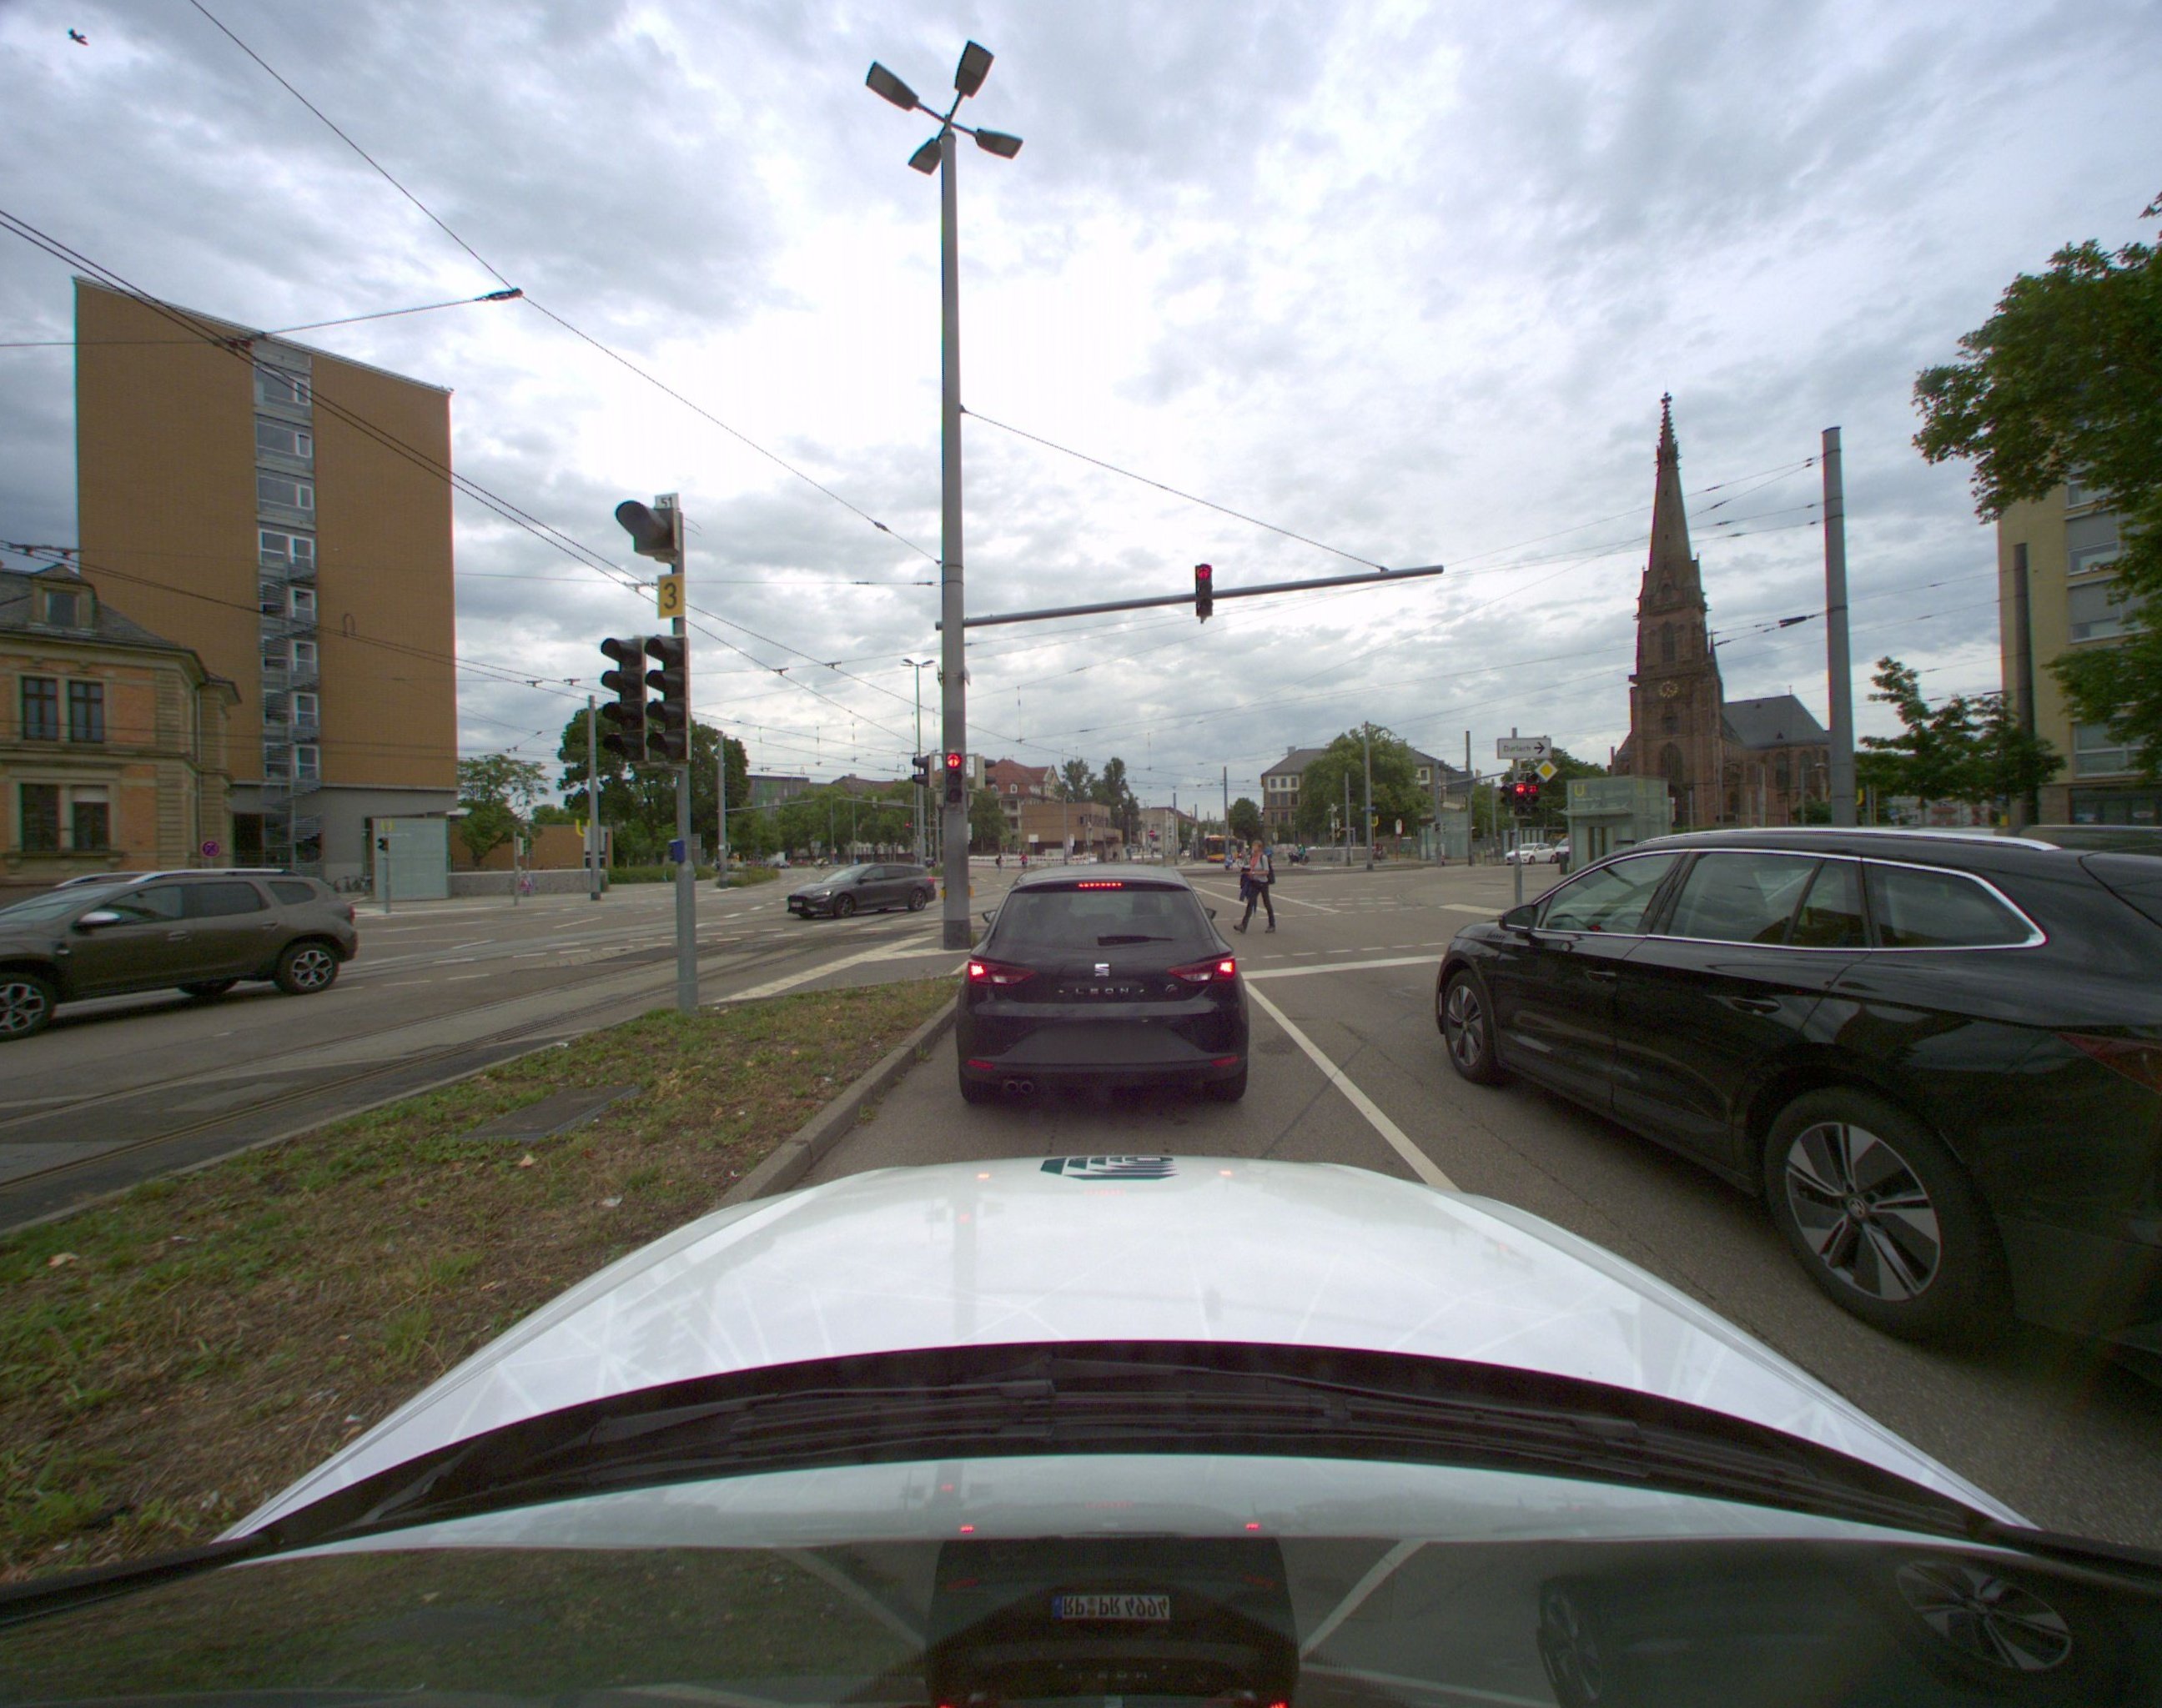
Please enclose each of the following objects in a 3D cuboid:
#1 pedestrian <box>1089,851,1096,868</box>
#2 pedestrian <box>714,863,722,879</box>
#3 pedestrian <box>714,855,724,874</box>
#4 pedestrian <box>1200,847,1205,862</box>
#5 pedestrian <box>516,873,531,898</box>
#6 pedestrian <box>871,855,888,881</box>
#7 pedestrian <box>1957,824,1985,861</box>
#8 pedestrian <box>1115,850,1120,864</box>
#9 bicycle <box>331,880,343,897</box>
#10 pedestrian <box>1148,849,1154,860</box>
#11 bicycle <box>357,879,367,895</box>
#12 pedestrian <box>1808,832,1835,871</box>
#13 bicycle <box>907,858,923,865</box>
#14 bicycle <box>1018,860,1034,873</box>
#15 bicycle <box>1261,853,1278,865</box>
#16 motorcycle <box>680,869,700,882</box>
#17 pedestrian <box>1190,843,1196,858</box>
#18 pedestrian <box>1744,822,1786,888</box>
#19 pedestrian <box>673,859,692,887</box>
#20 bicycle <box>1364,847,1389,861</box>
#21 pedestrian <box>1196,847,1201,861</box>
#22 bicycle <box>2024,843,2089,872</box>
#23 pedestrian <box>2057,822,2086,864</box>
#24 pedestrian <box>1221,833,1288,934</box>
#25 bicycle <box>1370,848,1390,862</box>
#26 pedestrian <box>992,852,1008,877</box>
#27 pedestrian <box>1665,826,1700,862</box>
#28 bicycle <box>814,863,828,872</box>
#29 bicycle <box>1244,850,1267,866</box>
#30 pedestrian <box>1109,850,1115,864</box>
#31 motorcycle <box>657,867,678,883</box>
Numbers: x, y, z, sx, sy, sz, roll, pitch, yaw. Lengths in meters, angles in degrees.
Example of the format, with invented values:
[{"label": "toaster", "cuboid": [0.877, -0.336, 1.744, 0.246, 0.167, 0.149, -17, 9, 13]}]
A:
[{"label": "pedestrian", "cuboid": [1.394, 0.636, 96.843, 0.704, 1.918, 0.625, -1, 0, 9]}, {"label": "pedestrian", "cuboid": [-46.379, 2.164, 104.042, 0.880, 1.981, 0.791, -1, -1, -17]}, {"label": "pedestrian", "cuboid": [-37.744, 1.077, 84.873, 0.799, 1.981, 0.872, -1, -2, -33]}, {"label": "pedestrian", "cuboid": [15.587, 0.044, 104.490, 0.617, 1.918, 0.701, -1, 0, 11]}, {"label": "pedestrian", "cuboid": [-30.670, 1.713, 44.795, 0.492, 1.336, 0.577, -1, 0, 41]}, {"label": "pedestrian", "cuboid": [-14.980, 1.040, 60.537, 1.032, 1.934, 0.695, -1, 0, -24]}, {"label": "pedestrian", "cuboid": [39.155, -0.505, 35.846, 0.641, 1.638, 0.777, -1, 0, -45]}, {"label": "pedestrian", "cuboid": [4.954, 0.431, 109.696, 0.618, 1.918, 0.711, -1, 0, 5]}, {"label": "bicycle", "cuboid": [-51.126, 2.339, 55.972, 0.575, 1.106, 1.411, -1, 0, -41]}, {"label": "pedestrian", "cuboid": [12.352, 0.025, 143.628, 0.615, 1.918, 0.715, -2, -2, 27]}, {"label": "bicycle", "cuboid": [-50.209, 2.299, 56.855, 0.484, 1.049, 1.411, -1, 0, -41]}, {"label": "pedestrian", "cuboid": [31.579, -0.103, 34.738, 0.875, 1.638, 0.631, -1, 0, -32]}, {"label": "bicycle", "cuboid": [-27.786, 1.236, 136.527, 0.930, 1.179, 2.747, -1, 0, 30]}, {"label": "bicycle", "cuboid": [-5.242, 1.163, 77.744, 0.895, 1.178, 2.287, -1, 0, -20]}, {"label": "bicycle", "cuboid": [17.115, 0.443, 73.924, 0.863, 1.104, 2.299, -1, 0, -3]}, {"label": "motorcycle", "cuboid": [-34.383, 1.861, 71.633, 0.506, 1.111, 1.751, -1, 0, 15]}, {"label": "pedestrian", "cuboid": [14.339, -0.400, 104.144, 0.617, 1.918, 0.701, -1, 0, 11]}, {"label": "pedestrian", "cuboid": [20.615, 0.029, 24.547, 0.878, 1.930, 1.023, -1, 0, 43]}, {"label": "pedestrian", "cuboid": [-28.690, 1.357, 58.645, 1.023, 2.013, 0.841, -1, 0, -18]}, {"label": "bicycle", "cuboid": [29.700, -0.013, 81.830, 2.248, 1.331, 0.709, -2, -1, 9]}, {"label": "pedestrian", "cuboid": [15.202, 0.001, 105.508, 0.618, 1.918, 0.711, -1, 0, 5]}, {"label": "bicycle", "cuboid": [31.534, 0.117, 26.333, 0.596, 0.917, 1.253, -1, 0, -28]}, {"label": "pedestrian", "cuboid": [39.505, -0.441, 32.482, 0.875, 1.638, 0.631, -1, 0, -32]}, {"label": "pedestrian", "cuboid": [3.389, 0.553, 15.884, 1.110, 1.907, 0.727, 0, -1, -41]}, {"label": "bicycle", "cuboid": [26.008, 0.108, 70.875, 2.044, 1.184, 0.768, -1, 0, -44]}, {"label": "pedestrian", "cuboid": [-6.345, 0.838, 64.058, 0.692, 1.934, 1.037, -2, 0, 40]}, {"label": "pedestrian", "cuboid": [30.686, -0.505, 41.552, 0.950, 1.797, 1.076, -1, -2, -31]}, {"label": "bicycle", "cuboid": [-36.414, 1.894, 113.951, 0.429, 1.236, 1.838, -3, -2, 45]}, {"label": "bicycle", "cuboid": [14.345, 0.335, 66.891, 1.729, 1.321, 0.643, -1, 0, -8]}, {"label": "pedestrian", "cuboid": [4.180, 0.436, 109.805, 0.618, 1.918, 0.711, -1, 0, 5]}, {"label": "motorcycle", "cuboid": [-35.410, 1.780, 69.728, 1.481, 1.268, 0.505, -1, 0, -44]}]
